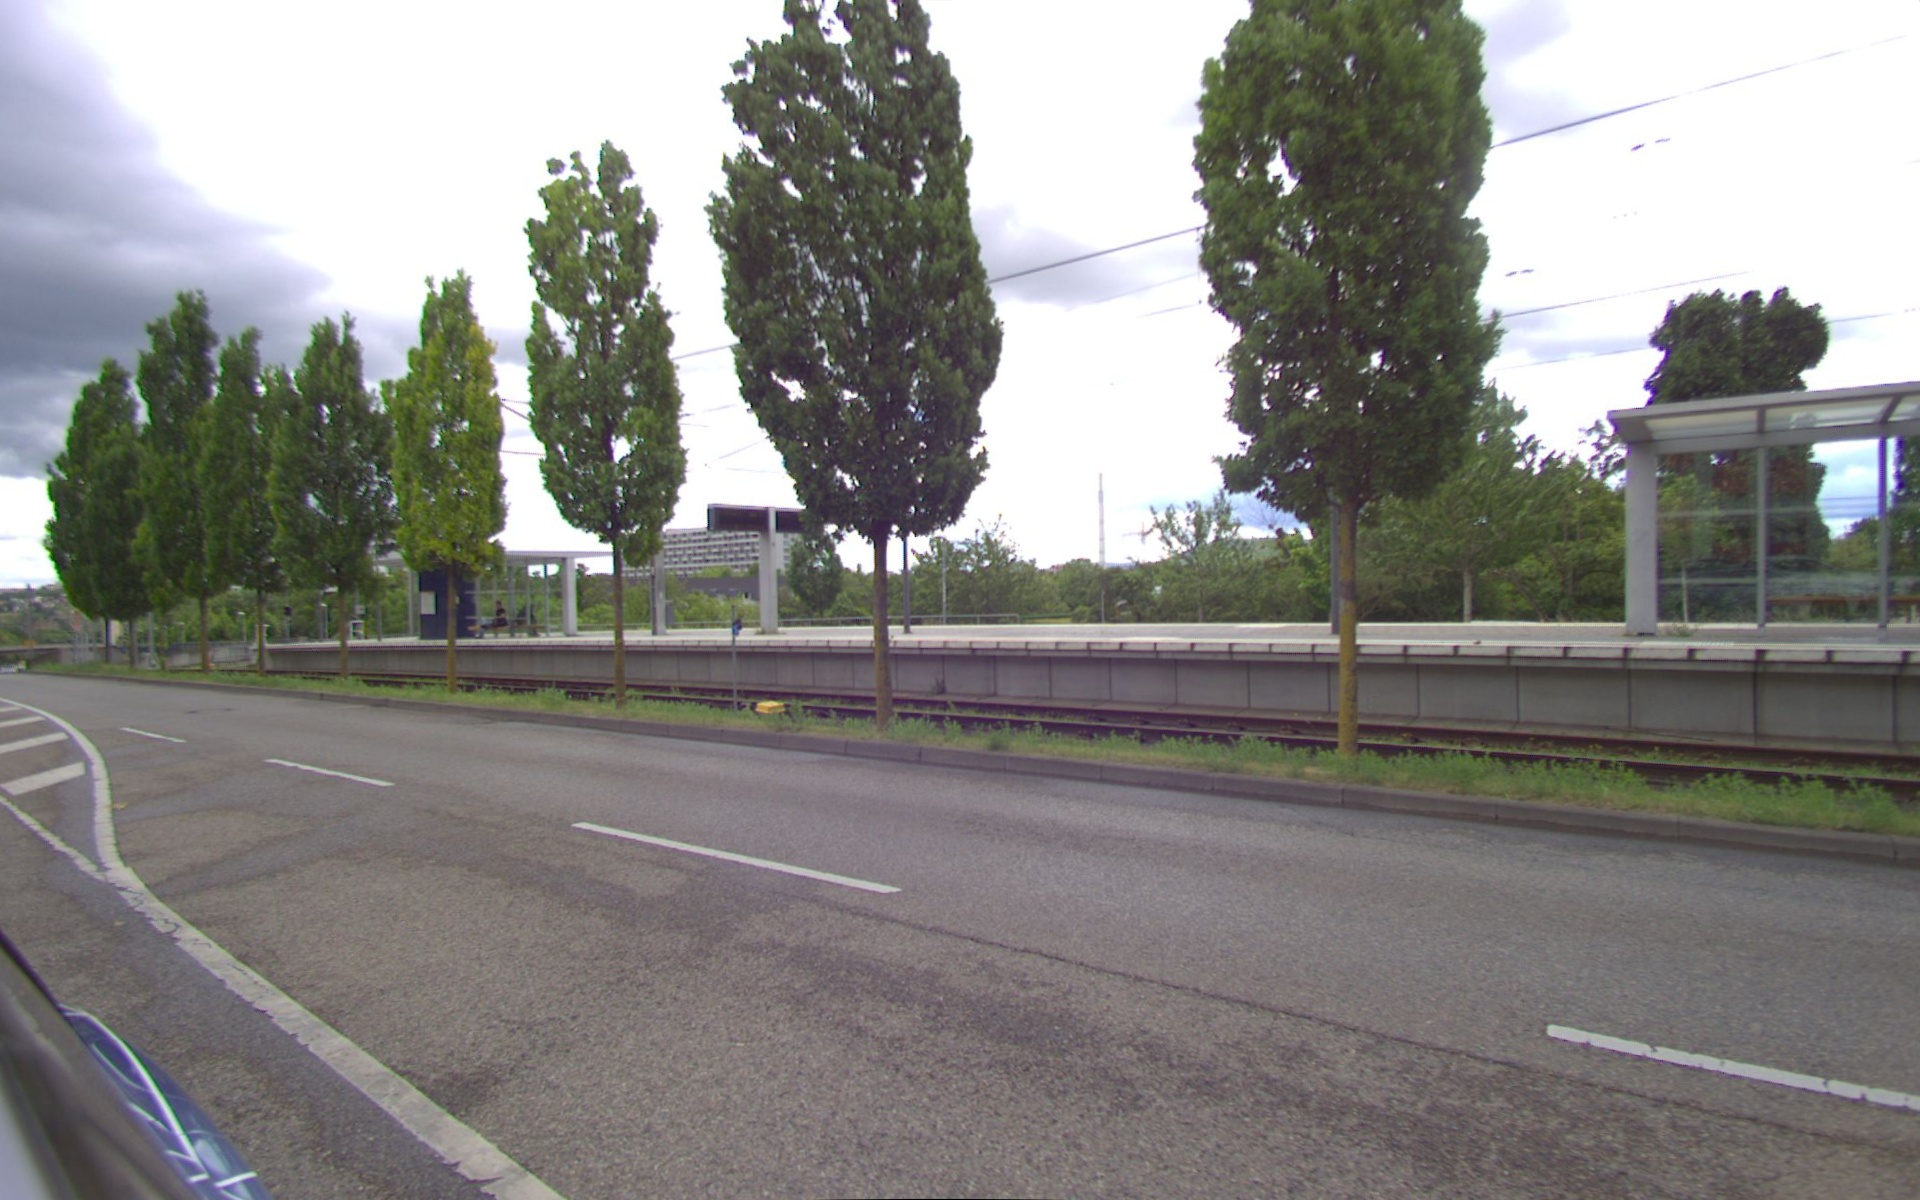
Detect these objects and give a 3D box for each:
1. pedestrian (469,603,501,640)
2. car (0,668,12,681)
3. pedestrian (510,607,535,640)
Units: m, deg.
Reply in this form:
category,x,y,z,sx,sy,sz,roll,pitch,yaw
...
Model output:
category,x,y,z,sx,sy,sz,roll,pitch,yaw
pedestrian,-15.931,0.718,33.949,0.665,1.208,0.753,-3,-2,40
car,-121.203,9.429,128.177,1.696,1.533,3.747,0,-3,-44
pedestrian,-14.657,0.797,33.923,0.470,1.087,0.601,-4,-3,40
